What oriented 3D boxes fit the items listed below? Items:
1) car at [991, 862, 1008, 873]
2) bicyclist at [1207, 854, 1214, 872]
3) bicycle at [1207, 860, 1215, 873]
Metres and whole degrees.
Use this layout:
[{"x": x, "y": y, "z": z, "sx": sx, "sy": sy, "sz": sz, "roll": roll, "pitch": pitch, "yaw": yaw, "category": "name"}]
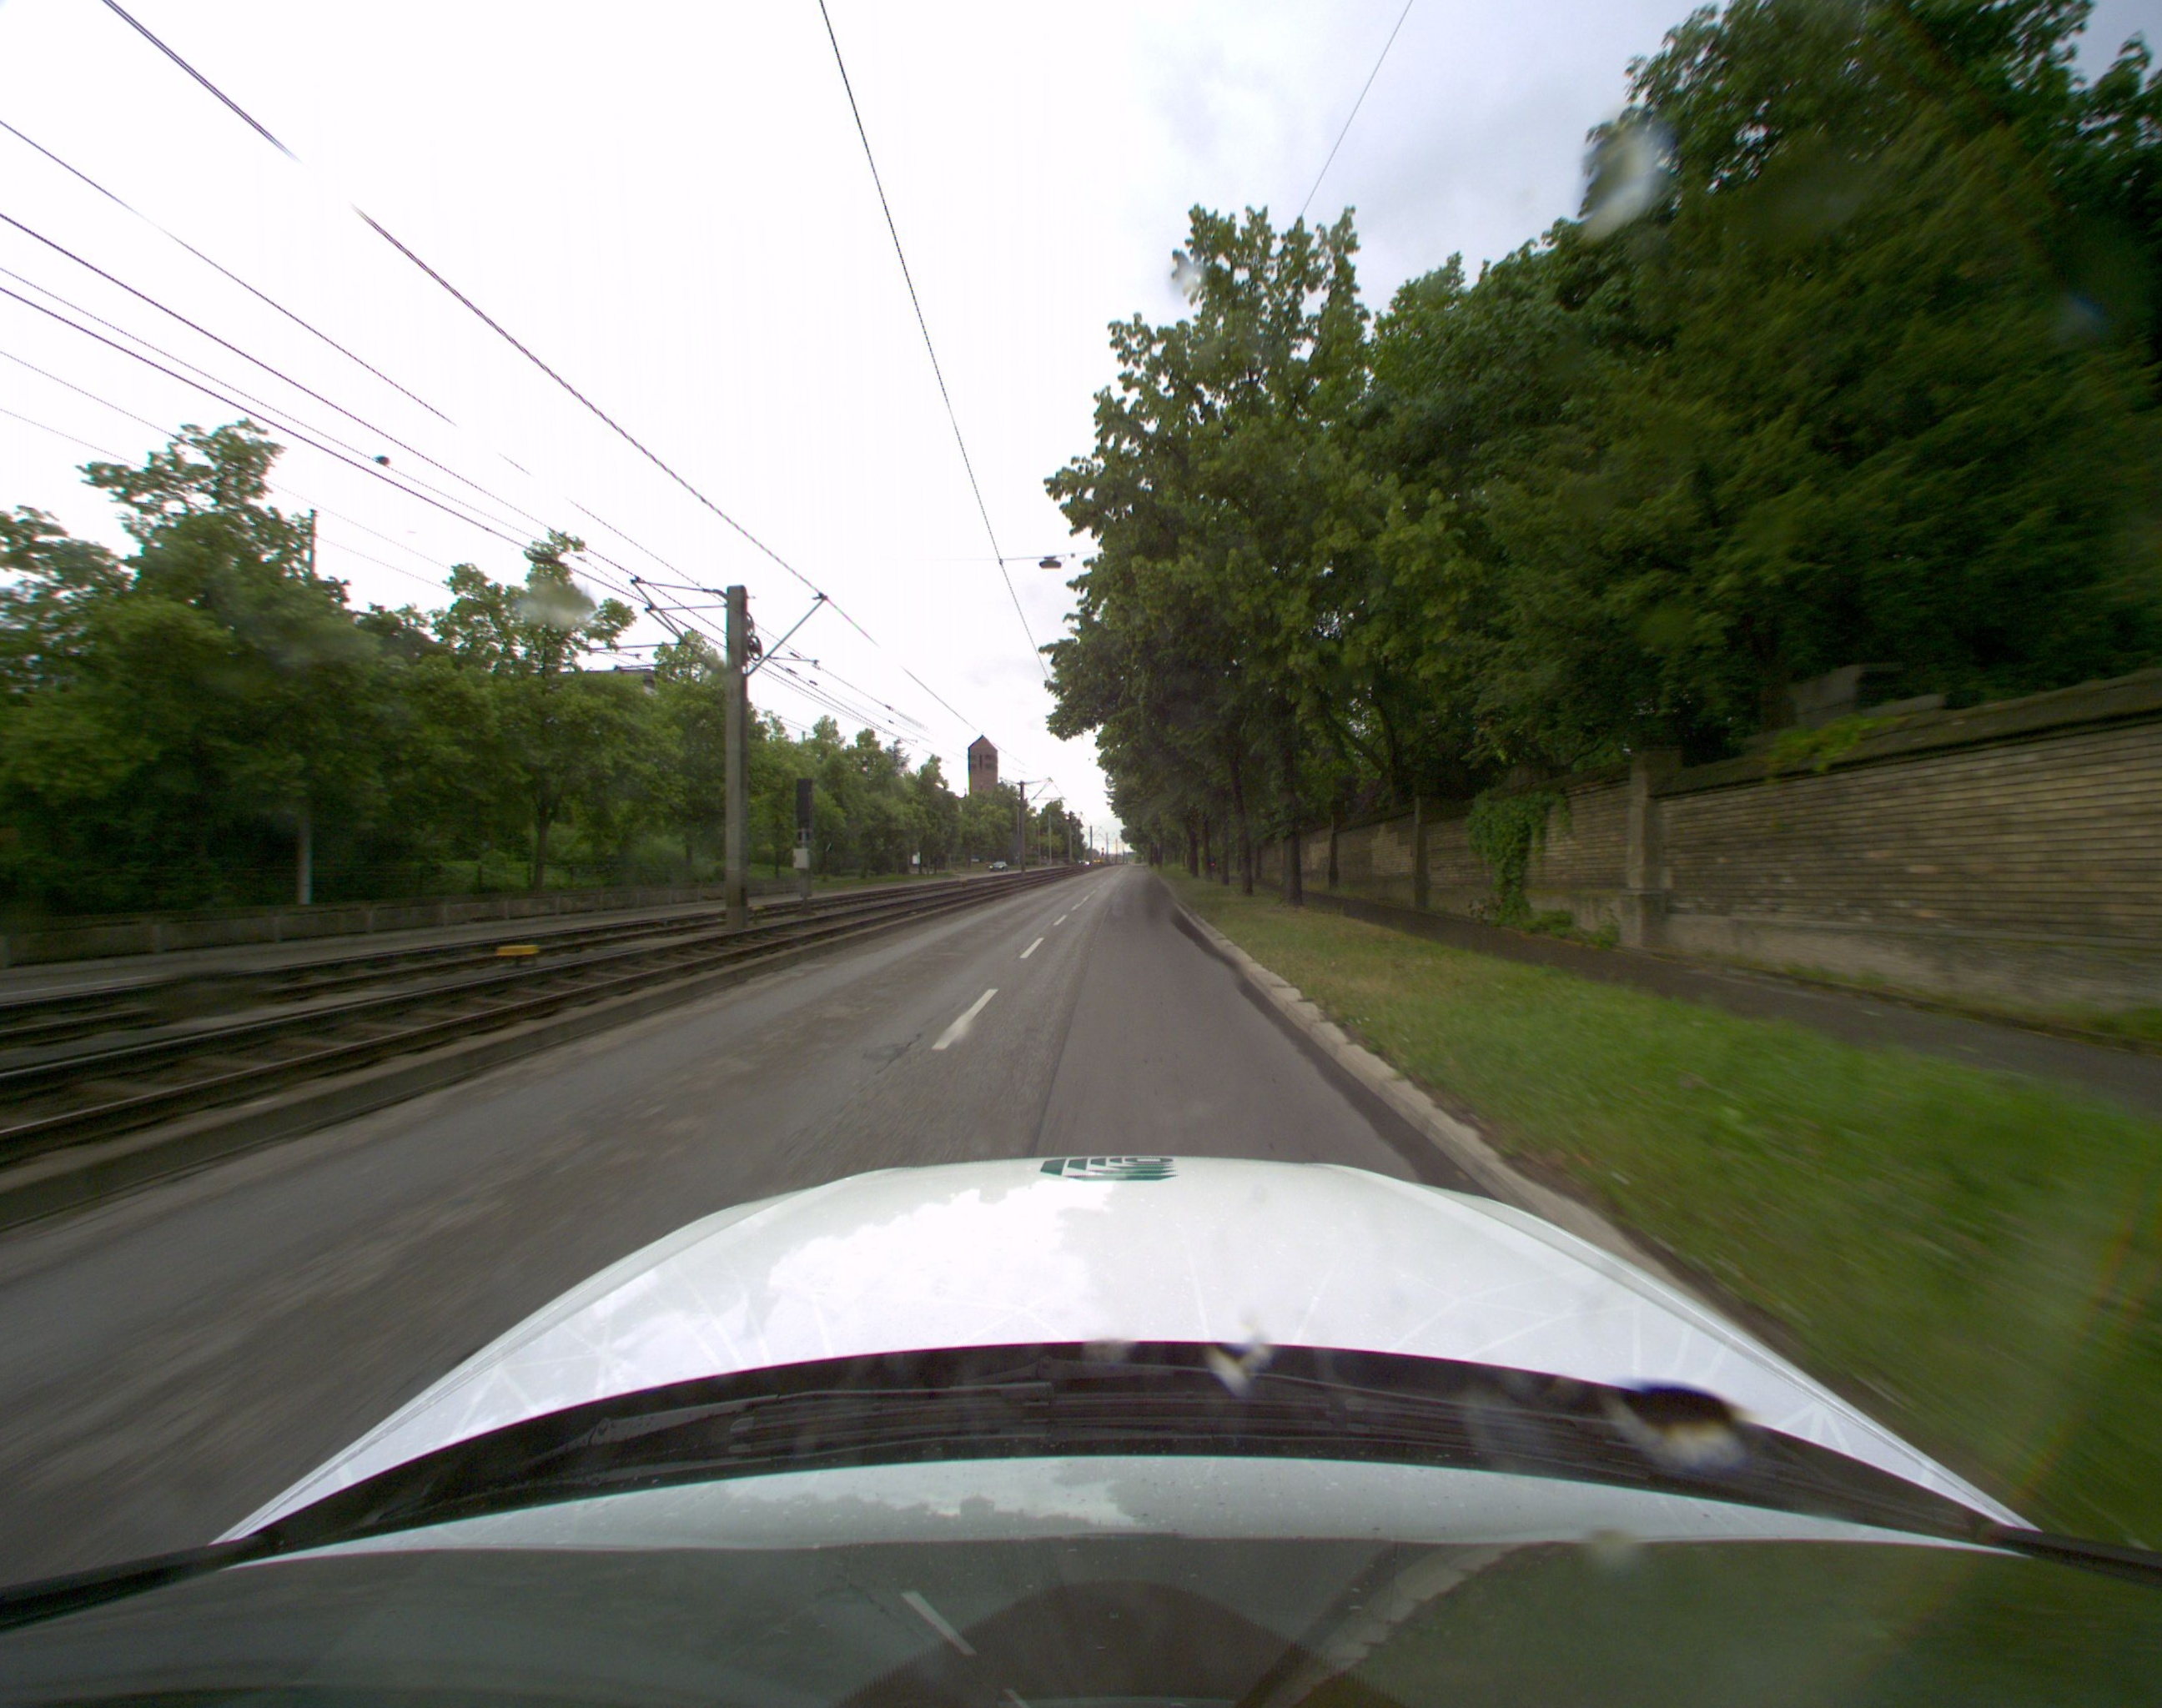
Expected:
[{"x": -11.693, "y": 1.952, "z": 116.763, "sx": 1.787, "sy": 1.530, "sz": 4.625, "roll": -1, "pitch": -1, "yaw": 3, "category": "car"}, {"x": 10.127, "y": 0.667, "z": 63.605, "sx": 0.532, "sy": 1.389, "sz": 0.667, "roll": -1, "pitch": -1, "yaw": 7, "category": "bicyclist"}, {"x": 10.136, "y": 0.969, "z": 63.629, "sx": 0.540, "sy": 0.948, "sz": 2.554, "roll": -1, "pitch": -1, "yaw": 7, "category": "bicycle"}]
